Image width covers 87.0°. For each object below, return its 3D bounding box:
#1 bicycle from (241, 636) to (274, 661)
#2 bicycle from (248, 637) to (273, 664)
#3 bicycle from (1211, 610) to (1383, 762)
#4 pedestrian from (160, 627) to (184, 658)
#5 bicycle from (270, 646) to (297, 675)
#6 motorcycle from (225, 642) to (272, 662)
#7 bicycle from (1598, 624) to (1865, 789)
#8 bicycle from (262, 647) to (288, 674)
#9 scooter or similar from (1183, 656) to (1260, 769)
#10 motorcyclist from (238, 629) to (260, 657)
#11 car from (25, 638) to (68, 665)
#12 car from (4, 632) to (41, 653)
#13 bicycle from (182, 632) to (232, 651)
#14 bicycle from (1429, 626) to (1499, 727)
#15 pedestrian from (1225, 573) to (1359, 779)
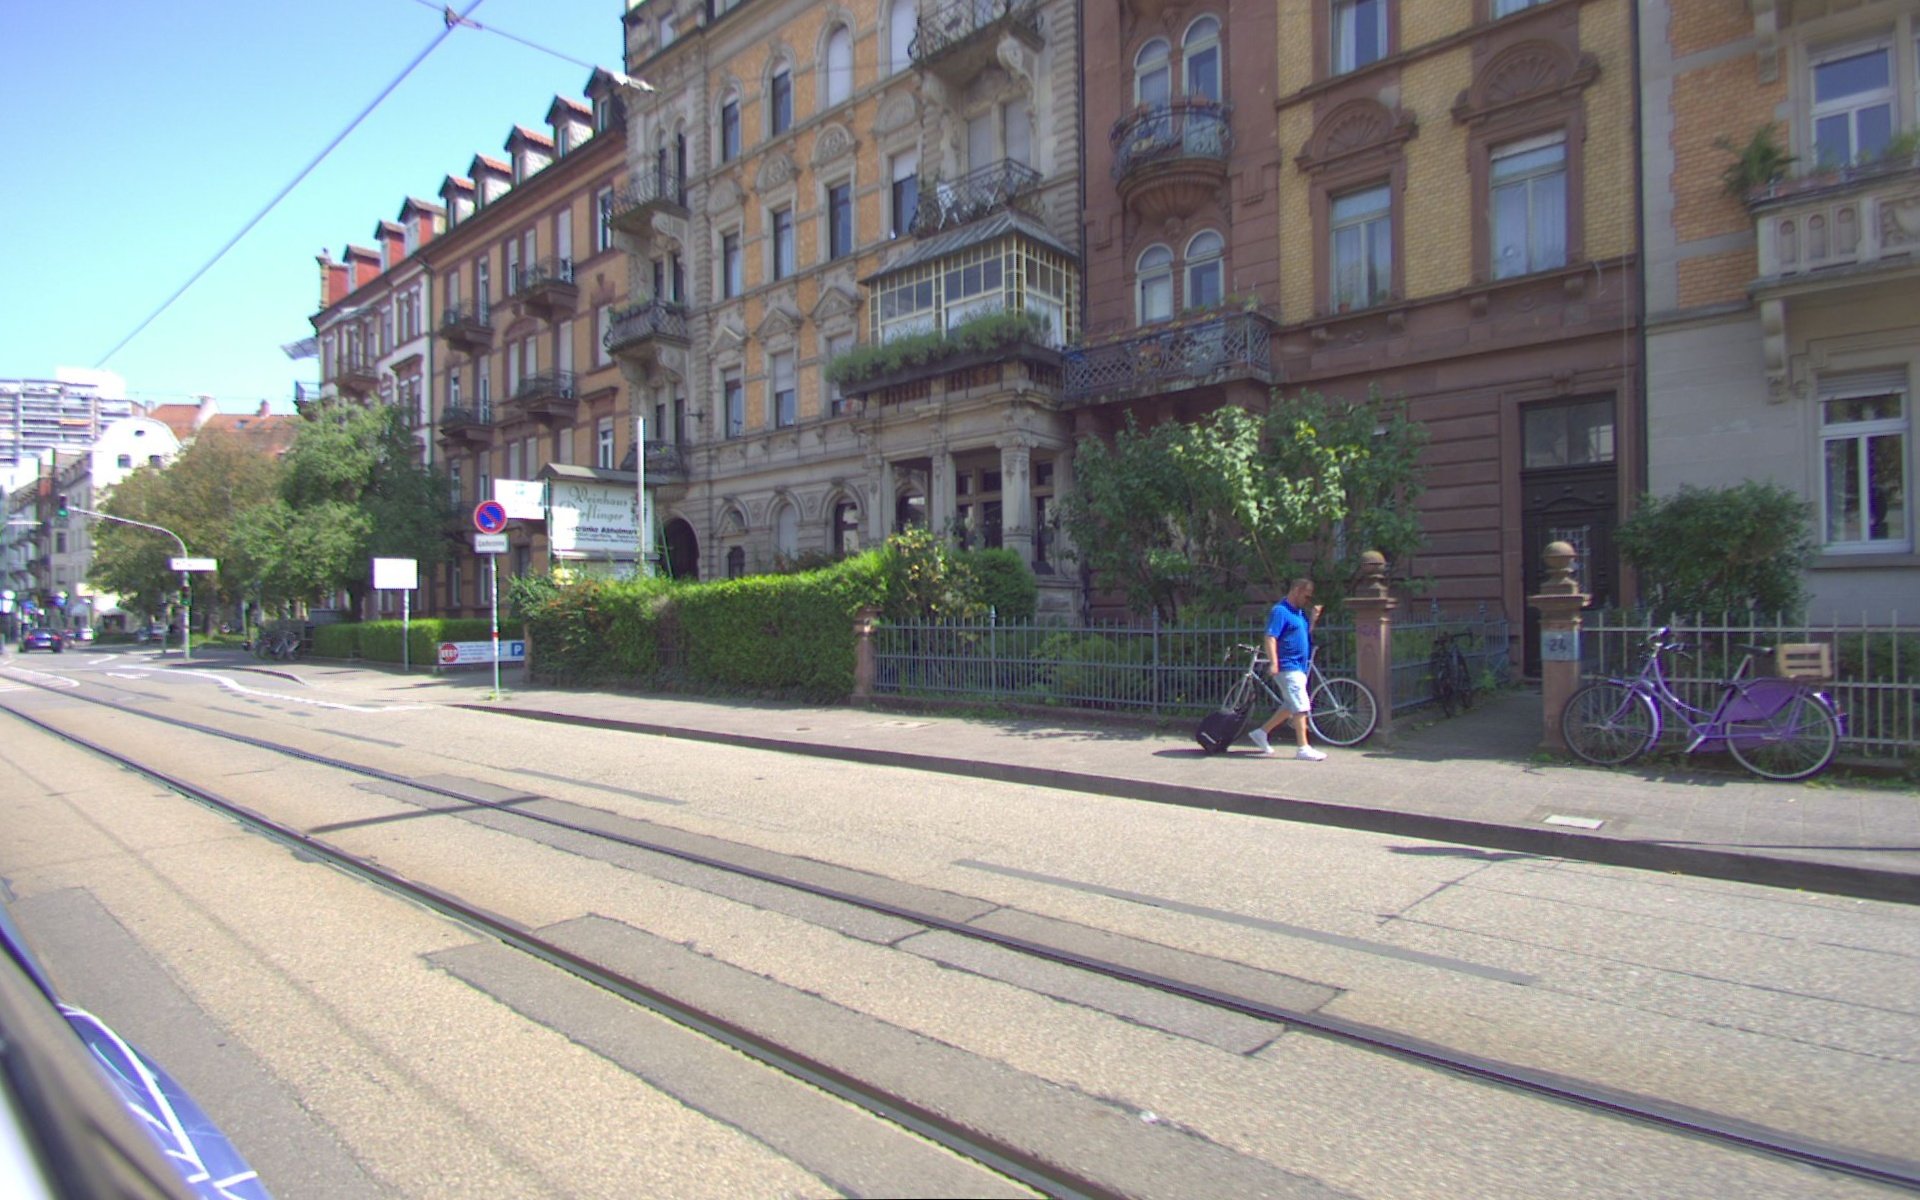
[{"bbox_3d":[-30.056,2.053,43.305,0.481,1.005,1.834,-1,-1,-11],"label":"bicycle"},{"bbox_3d":[-27.602,2.002,39.927,1.778,1.029,0.482,-2,-2,45],"label":"bicycle"},{"bbox_3d":[3.335,0.824,10.117,1.581,1.416,0.386,-2,-2,43],"label":"bicycle"},{"bbox_3d":[-53.080,2.860,68.173,1.036,2.029,1.080,-1,0,41],"label":"pedestrian"},{"bbox_3d":[-24.438,2.174,36.547,1.657,0.994,0.482,-2,-2,45],"label":"bicycle"},{"bbox_3d":[-39.274,2.876,55.884,0.688,1.039,2.145,-1,-1,17],"label":"motorcycle"},{"bbox_3d":[5.890,0.773,7.795,1.581,1.156,0.386,-2,-1,43],"label":"bicycle"},{"bbox_3d":[-25.611,2.256,37.810,1.657,0.949,0.482,-2,-2,45],"label":"bicycle"},{"bbox_3d":[2.459,1.039,9.520,0.583,0.990,0.397,-1,0,34],"label":"scooter or similar"},{"bbox_3d":[-39.287,2.351,55.926,0.686,1.523,0.768,-1,-1,18],"label":"motorcyclist"},{"bbox_3d":[-54.032,3.013,59.828,1.707,1.444,4.179,0,-1,-45],"label":"car"},{"bbox_3d":[-80.855,3.686,87.267,4.630,1.739,1.972,-2,-3,42],"label":"car"},{"bbox_3d":[-61.707,3.408,82.907,3.445,1.447,1.219,-1,-1,9],"label":"bicycle"},{"bbox_3d":[5.683,0.832,11.383,0.391,1.040,1.385,-2,-1,39],"label":"bicycle"},{"bbox_3d":[3.057,0.660,9.318,0.870,1.769,0.874,-2,-2,41],"label":"pedestrian"}]
